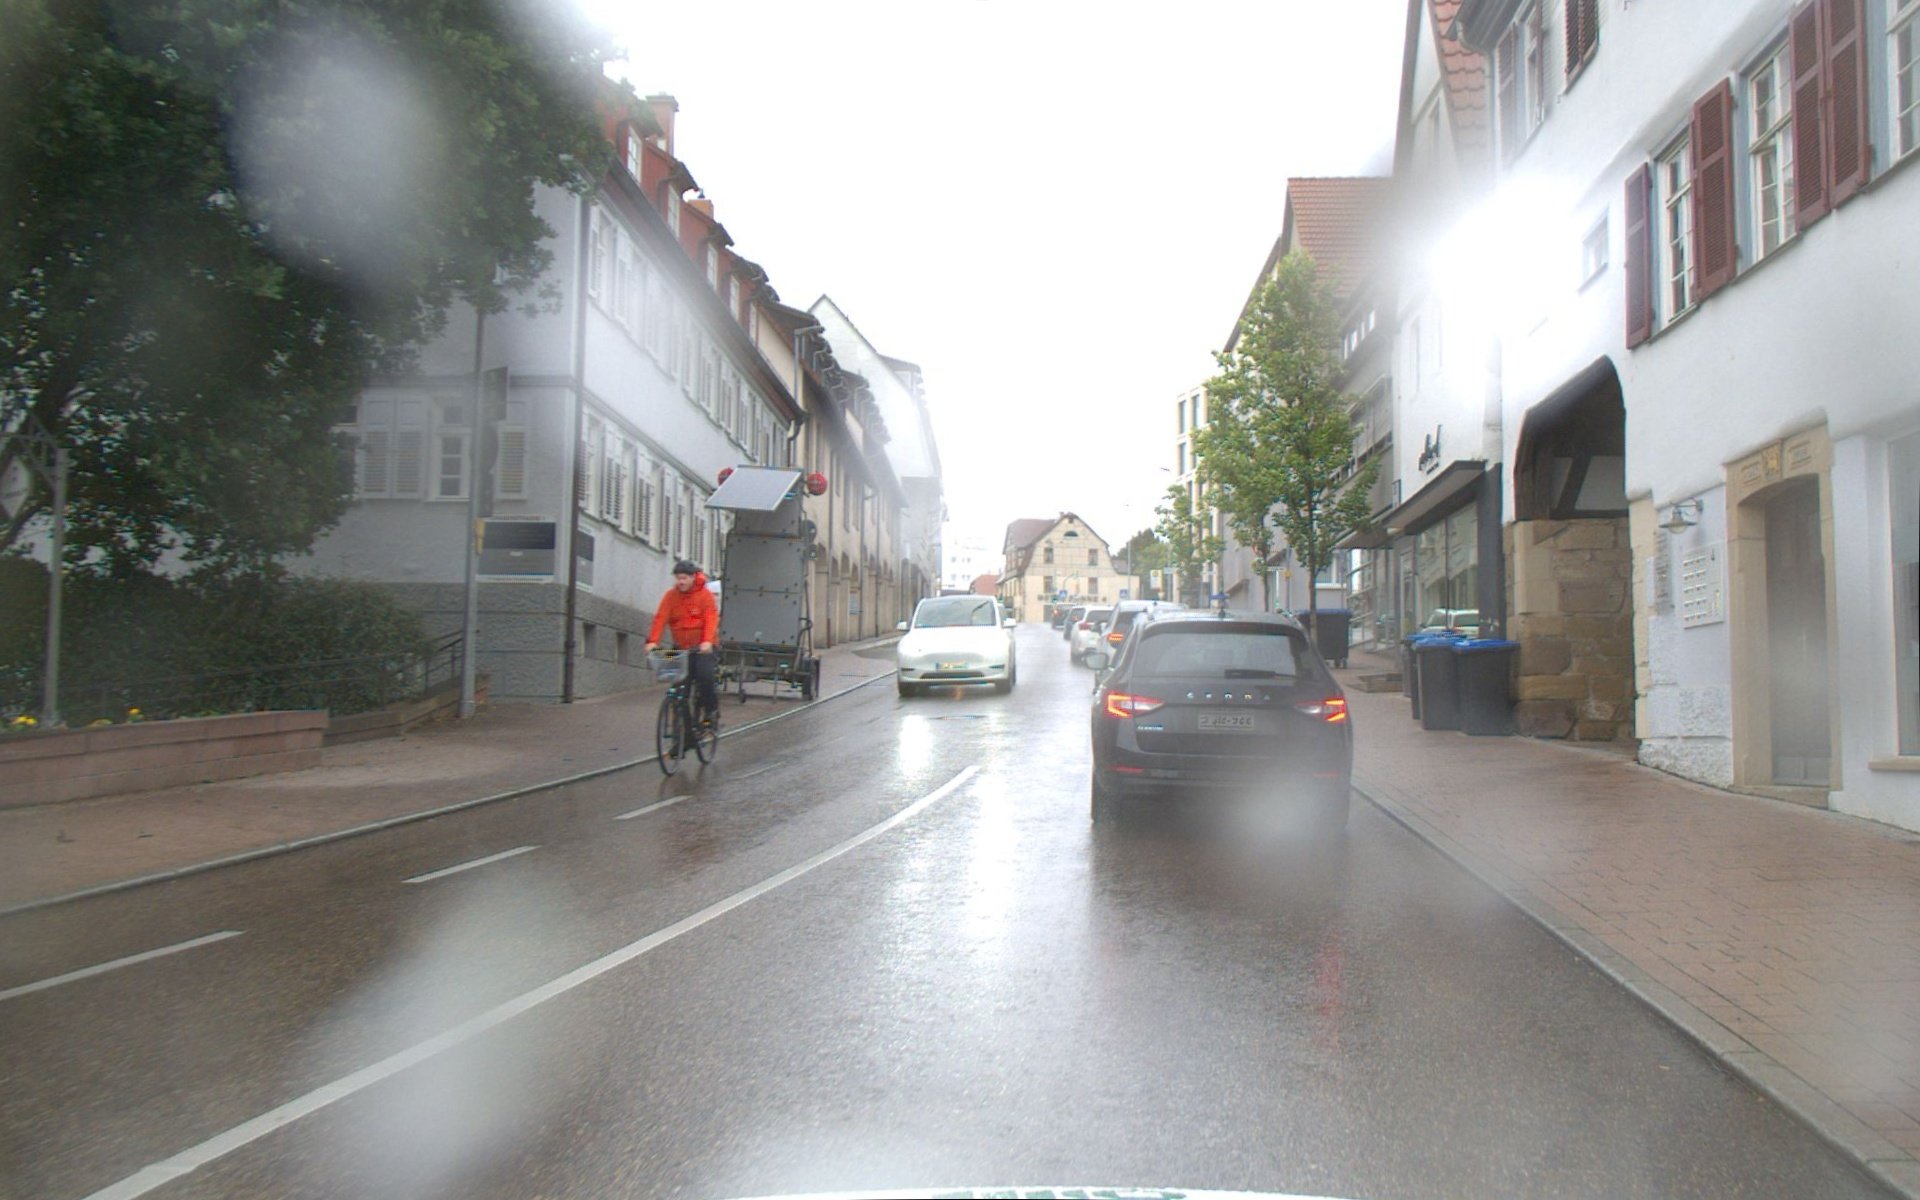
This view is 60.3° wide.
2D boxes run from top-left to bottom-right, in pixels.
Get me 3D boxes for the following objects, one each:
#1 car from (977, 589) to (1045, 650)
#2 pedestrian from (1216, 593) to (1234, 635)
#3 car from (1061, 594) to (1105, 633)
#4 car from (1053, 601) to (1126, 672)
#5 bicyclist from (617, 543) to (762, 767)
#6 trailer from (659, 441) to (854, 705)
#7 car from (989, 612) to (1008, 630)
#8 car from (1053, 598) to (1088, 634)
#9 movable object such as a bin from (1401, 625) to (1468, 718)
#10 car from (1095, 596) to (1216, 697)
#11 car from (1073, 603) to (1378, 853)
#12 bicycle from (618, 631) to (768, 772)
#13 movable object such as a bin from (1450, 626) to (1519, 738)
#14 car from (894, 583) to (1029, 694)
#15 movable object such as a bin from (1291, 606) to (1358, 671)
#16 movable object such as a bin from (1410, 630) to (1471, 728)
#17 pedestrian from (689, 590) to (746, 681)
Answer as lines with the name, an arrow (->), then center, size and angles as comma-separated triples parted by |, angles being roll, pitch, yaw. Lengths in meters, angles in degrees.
car -> 1.383, 0.505, 44.709 | 1.736, 1.560, 3.711 | 1, 0, 2
pedestrian -> 11.246, 0.589, 70.186 | 0.690, 1.755, 0.833 | 1, 0, 6
car -> 5.284, 0.575, 71.474 | 1.668, 1.579, 3.606 | 1, 0, 1
car -> 3.240, 0.963, 41.927 | 1.594, 1.557, 3.999 | 0, -5, 1
bicyclist -> -2.554, 0.502, 15.715 | 1.112, 2.049, 0.881 | 1, 0, 10
trailer -> -2.945, -0.295, 25.034 | 1.951, 3.596, 4.576 | 1, -2, 5
car -> 3.489, 1.872, 150.234 | 1.594, 1.557, 4.001 | 1, 0, 1
car -> 6.488, 0.959, 97.361 | 1.952, 2.049, 4.002 | 1, 0, 4
movable object such as a bin -> 5.928, 0.887, 20.684 | 0.645, 1.081, 0.615 | -4, 1, 6
car -> 3.207, 0.706, 27.207 | 1.817, 1.498, 4.003 | 1, 0, 7
car -> 1.897, 0.784, 12.378 | 1.846, 1.473, 4.360 | 1, 0, 7
bicycle -> -2.501, 0.921, 15.770 | 0.731, 1.183, 2.159 | 0, 1, 10
movable object such as a bin -> 6.021, 0.931, 19.005 | 0.611, 1.226, 0.606 | 1, 2, 4
car -> 0.107, 0.635, 28.719 | 1.834, 1.691, 4.311 | -3, -1, 6
movable object such as a bin -> 8.250, 0.860, 37.501 | 1.259, 1.373, 1.488 | -1, 2, 3
movable object such as a bin -> 5.710, 0.931, 19.679 | 0.555, 1.128, 0.676 | 1, 0, 5
pedestrian -> -4.305, 0.612, 29.372 | 0.692, 1.556, 1.046 | 2, 0, 6
